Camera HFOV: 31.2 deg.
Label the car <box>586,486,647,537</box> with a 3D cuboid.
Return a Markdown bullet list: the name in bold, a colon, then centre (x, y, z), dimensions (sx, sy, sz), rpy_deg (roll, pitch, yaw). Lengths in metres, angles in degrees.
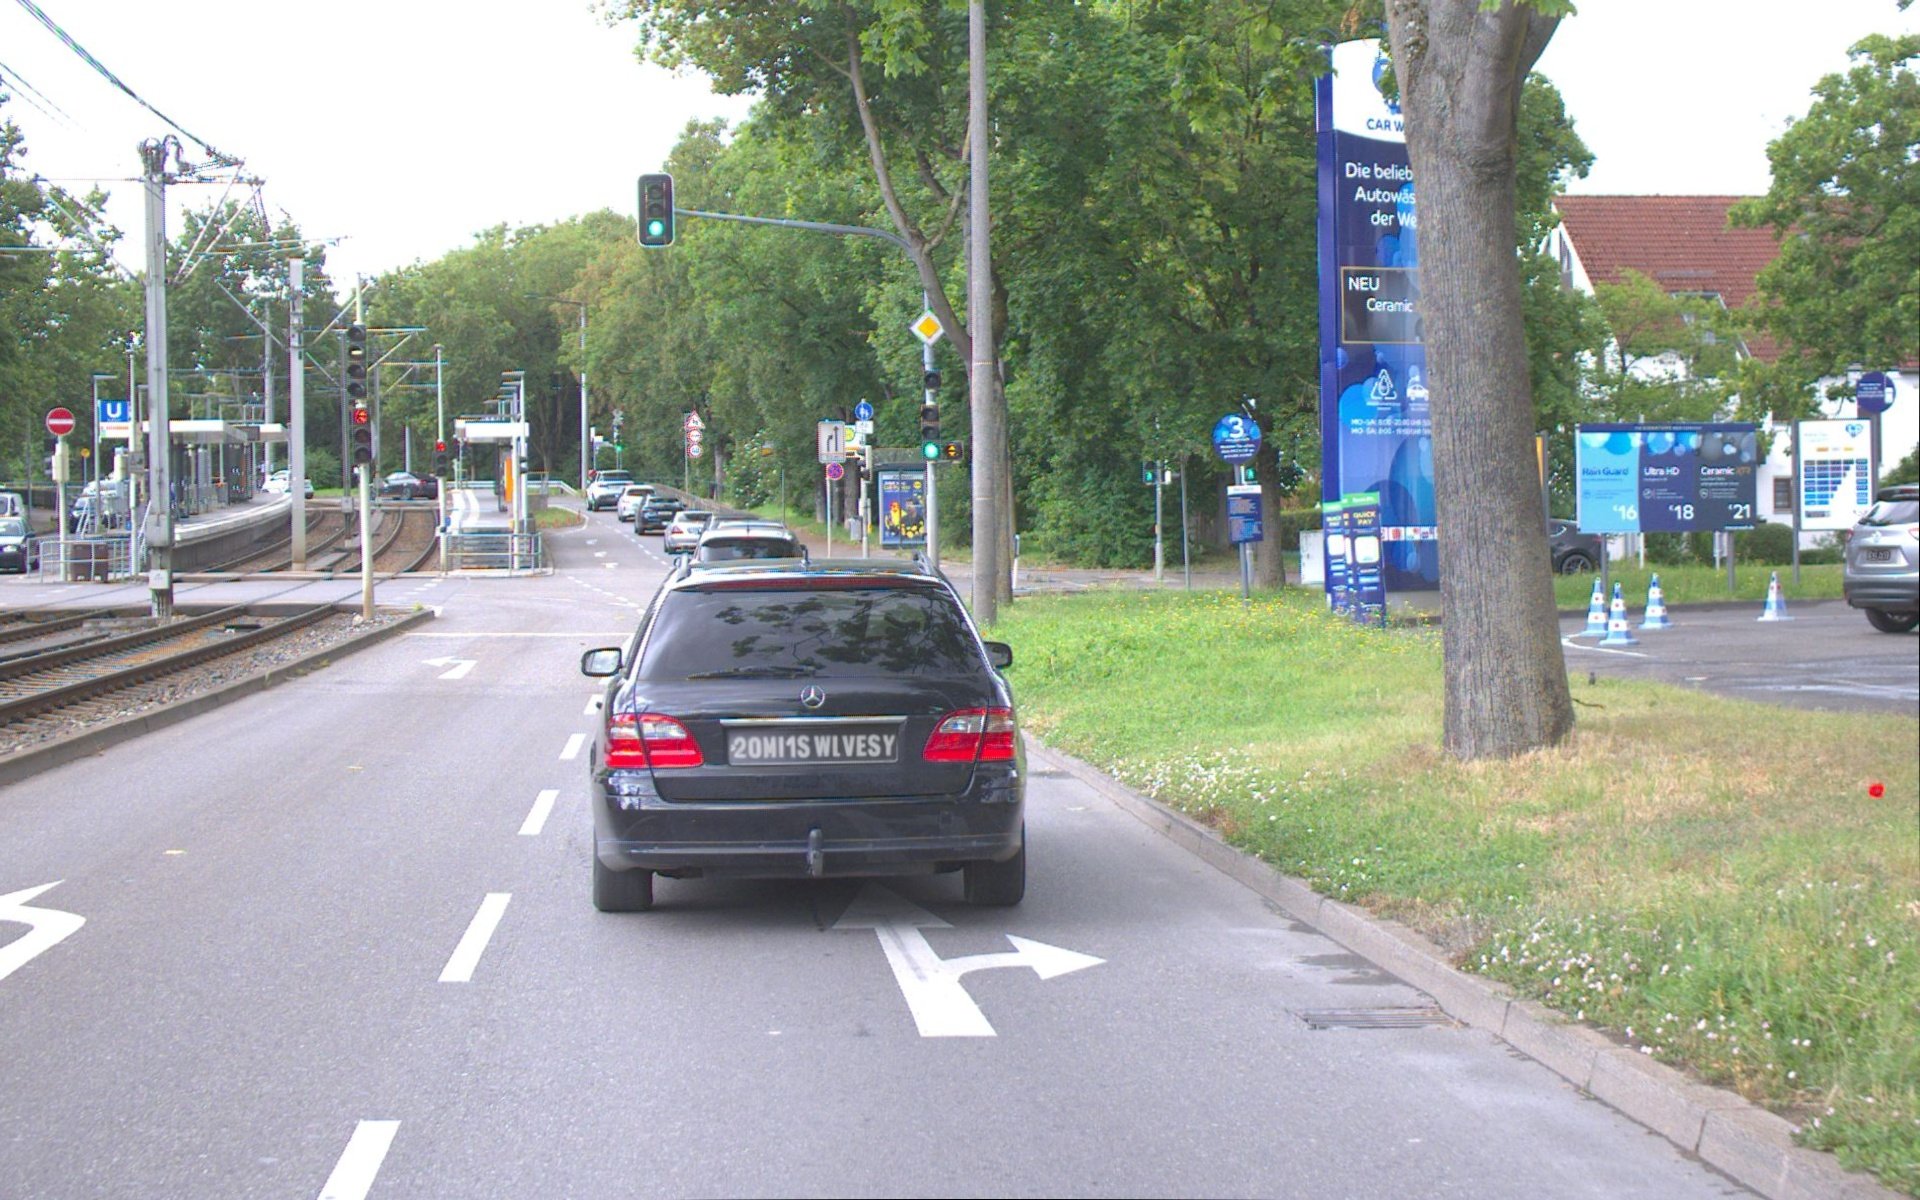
- **car**: centre (-14.079, -3.612, 140.881), dimensions (1.993, 2.007, 4.001), rpy_deg (2, 1, -12)

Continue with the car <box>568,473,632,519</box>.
- **car**: centre (-16.360, -4.717, 156.243), dimensions (1.993, 2.007, 4.001), rpy_deg (1, 1, -19)

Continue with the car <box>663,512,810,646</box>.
- **car**: centre (-2.904, -0.296, 45.378), dimensions (1.781, 1.642, 4.001), rpy_deg (2, 1, -2)

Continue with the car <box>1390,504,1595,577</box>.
- **car**: centre (11.424, -1.280, 73.963), dimensions (4.152, 1.520, 1.704), rpy_deg (-1, 1, 1)

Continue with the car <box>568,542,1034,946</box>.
- **car**: centre (-0.795, 0.519, 15.170), dimensions (1.781, 1.520, 4.001), rpy_deg (0, 1, -5)

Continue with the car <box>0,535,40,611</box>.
- **car**: centre (-24.513, -0.722, 87.332), dimensions (1.696, 1.854, 4.001), rpy_deg (2, 1, -8)

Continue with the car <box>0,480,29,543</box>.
- **car**: centre (-31.330, -2.834, 111.014), dimensions (1.993, 2.007, 4.887), rpy_deg (-1, 1, -11)

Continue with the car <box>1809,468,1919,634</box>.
- **car**: centre (11.391, -0.586, 36.775), dimensions (4.198, 1.691, 1.841), rpy_deg (-2, 2, -22)

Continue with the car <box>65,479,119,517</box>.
- **car**: centre (-35.613, -4.162, 141.059), dimensions (1.685, 1.441, 4.001), rpy_deg (-3, 2, -8)

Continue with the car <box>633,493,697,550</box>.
- **car**: centre (-10.601, -2.804, 123.474), dimensions (1.993, 1.960, 4.001), rpy_deg (2, 1, -8)

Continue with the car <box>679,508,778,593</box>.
- **car**: centre (-5.537, -1.198, 81.823), dimensions (1.993, 1.911, 4.001), rpy_deg (2, 1, -8)

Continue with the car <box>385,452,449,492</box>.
- **car**: centre (-28.315, -6.669, 179.141), dimensions (1.993, 2.007, 4.001), rpy_deg (1, 1, -29)

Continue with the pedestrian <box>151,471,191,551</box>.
- **pedestrian**: centre (-21.798, -2.461, 94.969), dimensions (0.969, 2.178, 0.976), rpy_deg (0, 2, -6)

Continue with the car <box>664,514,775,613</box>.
- **car**: centre (-4.210, -0.662, 60.739), dimensions (1.781, 1.642, 4.001), rpy_deg (2, 1, -2)

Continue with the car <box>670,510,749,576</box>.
- **car**: centre (-7.542, -1.704, 103.237), dimensions (1.993, 1.886, 4.001), rpy_deg (2, 1, -8)
